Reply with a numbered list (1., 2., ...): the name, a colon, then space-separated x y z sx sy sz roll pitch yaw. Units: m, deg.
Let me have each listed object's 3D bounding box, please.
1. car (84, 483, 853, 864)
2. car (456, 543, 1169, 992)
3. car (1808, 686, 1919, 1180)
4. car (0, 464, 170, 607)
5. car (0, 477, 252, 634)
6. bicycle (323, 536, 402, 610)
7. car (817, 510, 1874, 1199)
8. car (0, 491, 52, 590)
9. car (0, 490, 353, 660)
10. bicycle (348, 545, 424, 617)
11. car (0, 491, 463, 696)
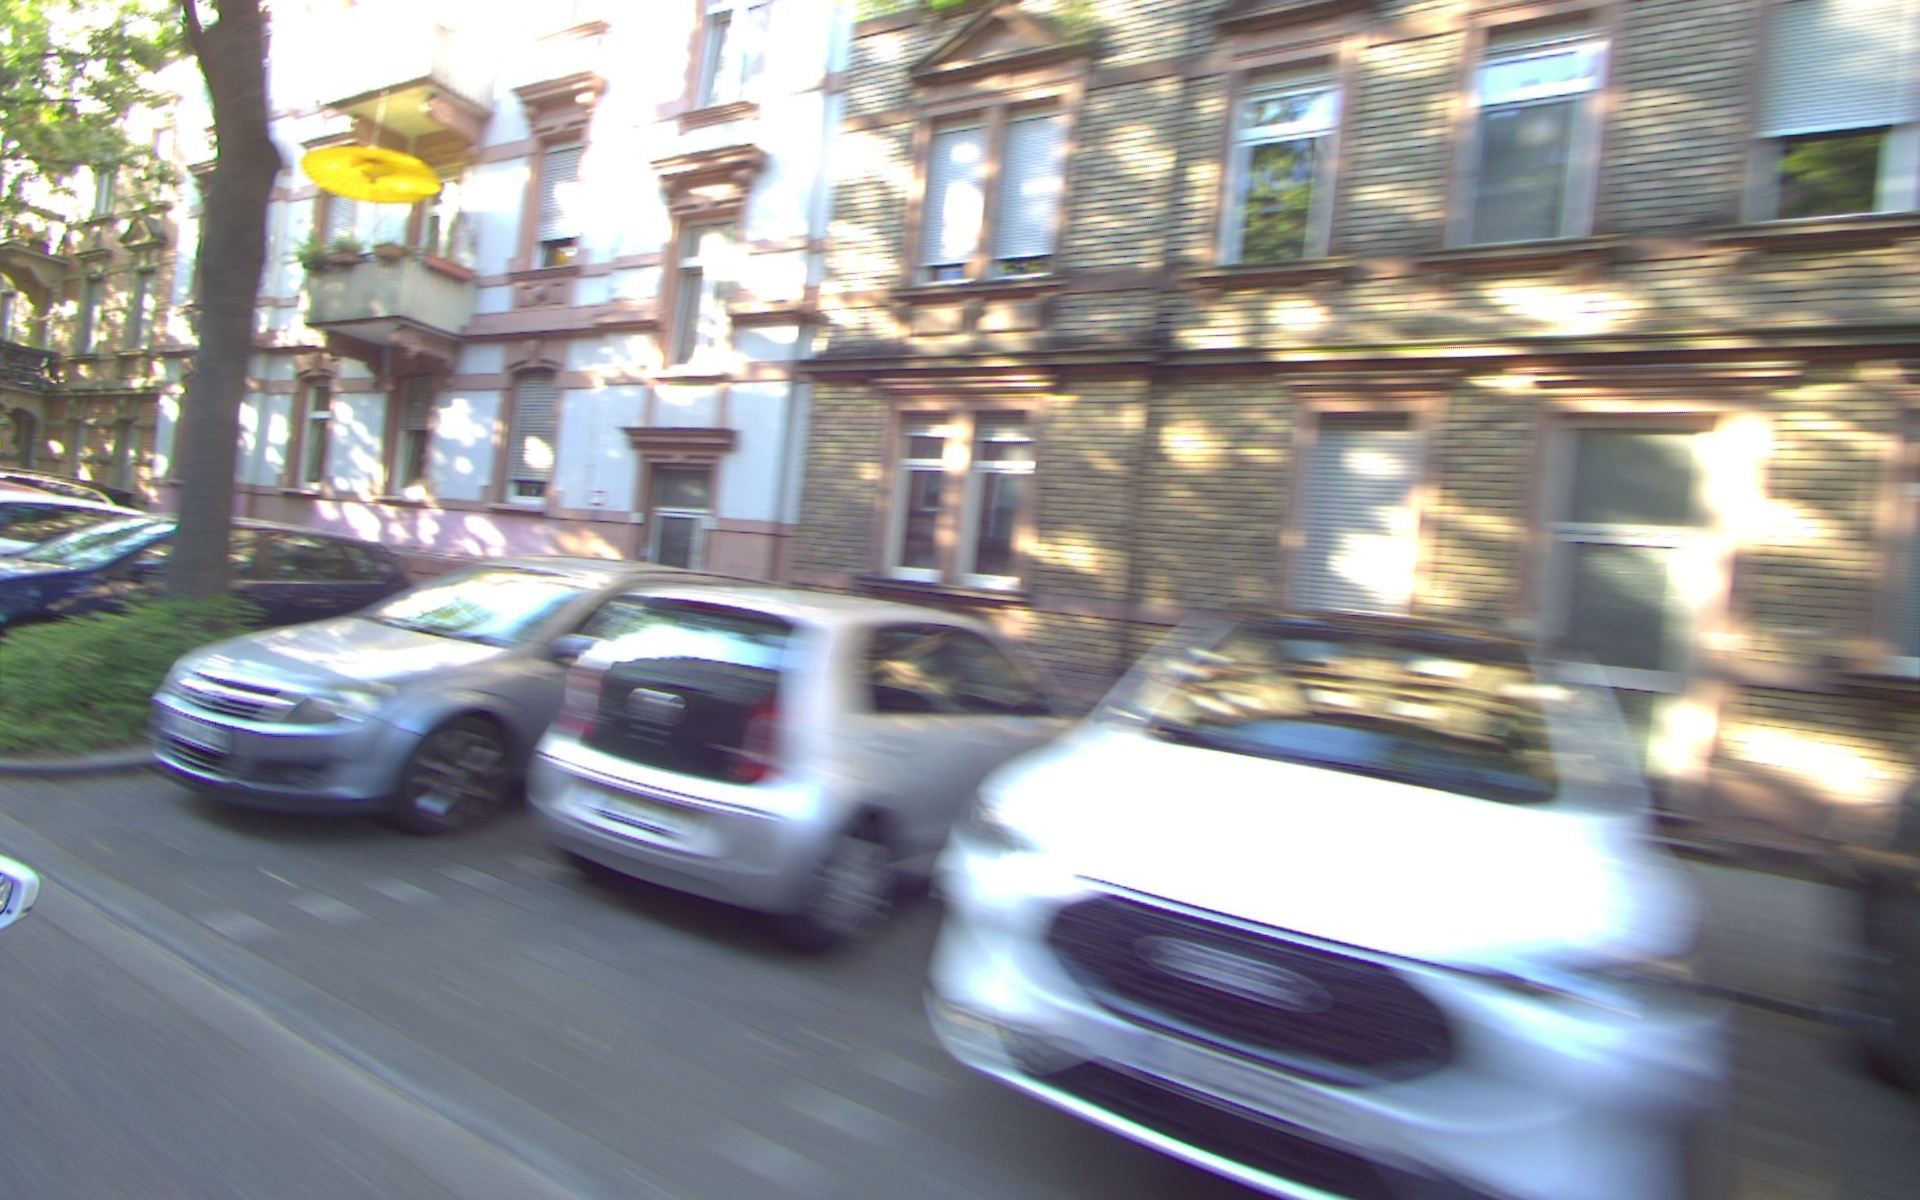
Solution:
1. car: -2.684 0.429 6.642 1.769 1.554 4.233 7 -1 27
2. car: -0.398 0.746 5.836 1.771 1.487 4.107 7 -1 31
3. car: 3.881 1.151 2.536 1.860 1.675 4.483 5 -2 31
4. car: -13.060 -0.949 12.525 1.848 1.724 4.652 7 1 26
5. car: -10.953 -0.577 11.701 1.751 1.609 3.996 7 0 26
6. bicycle: -10.031 -0.468 16.873 1.676 1.063 0.365 7 0 34
7. car: 1.594 0.864 3.996 1.859 1.675 4.486 5 -2 28
8. car: -17.072 -1.204 15.187 1.967 1.548 4.559 7 -1 31
9. car: -8.816 -0.254 10.337 1.751 1.480 3.996 7 0 26
10. bicycle: -9.805 -0.333 17.163 1.676 1.063 0.324 7 0 34
11. car: -6.687 -0.075 8.701 1.649 1.406 3.990 7 2 29
